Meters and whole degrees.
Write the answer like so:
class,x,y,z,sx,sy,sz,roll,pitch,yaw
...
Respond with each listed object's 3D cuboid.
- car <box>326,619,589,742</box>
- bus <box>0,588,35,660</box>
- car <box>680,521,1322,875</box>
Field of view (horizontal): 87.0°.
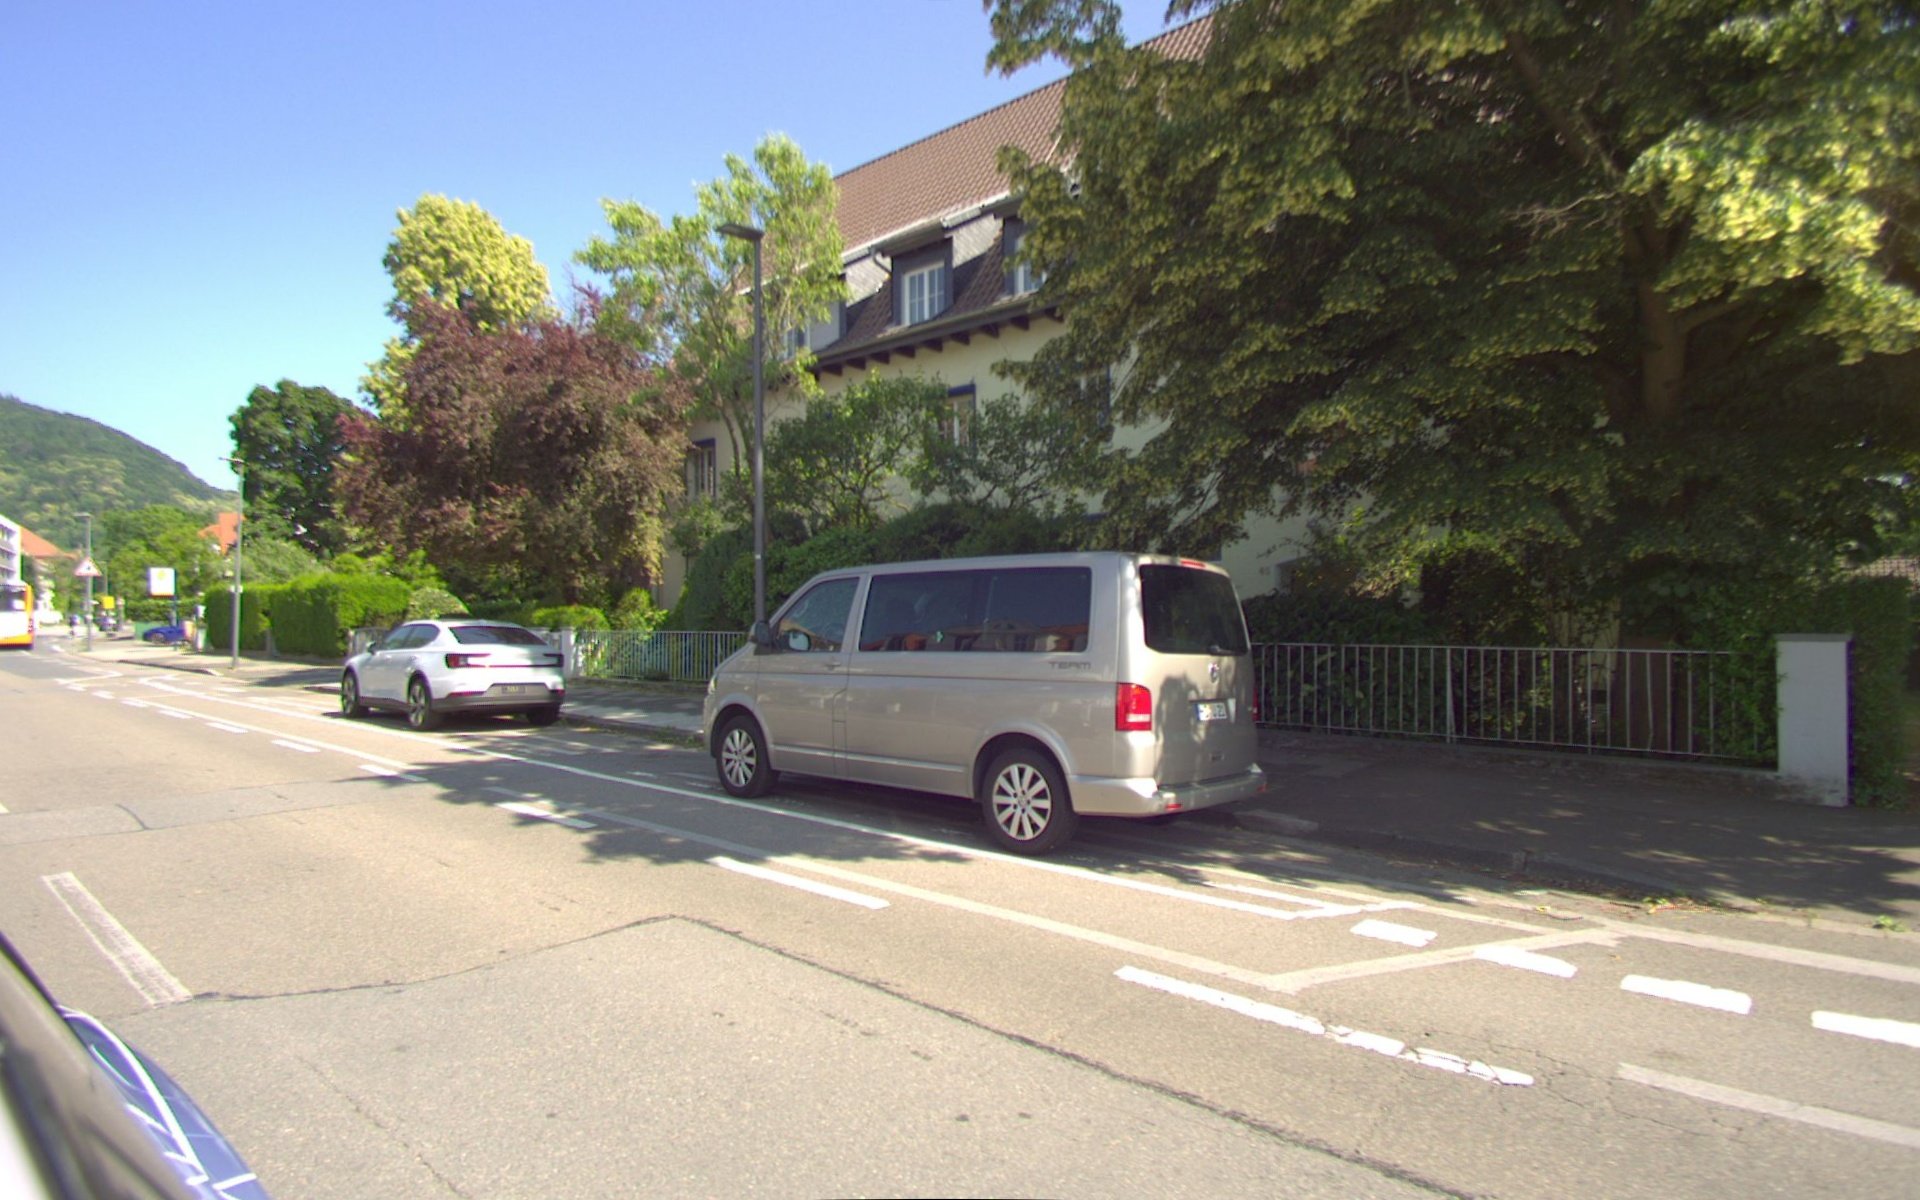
class,x,y,z,sx,sy,sz,roll,pitch,yaw
car,-7.355,1.056,14.594,4.561,1.497,1.814,-1,-3,42
bus,-46.355,1.150,48.334,2.714,3.198,9.783,3,-3,-45
car,0.051,0.593,7.859,4.865,1.934,1.865,-1,-3,41
